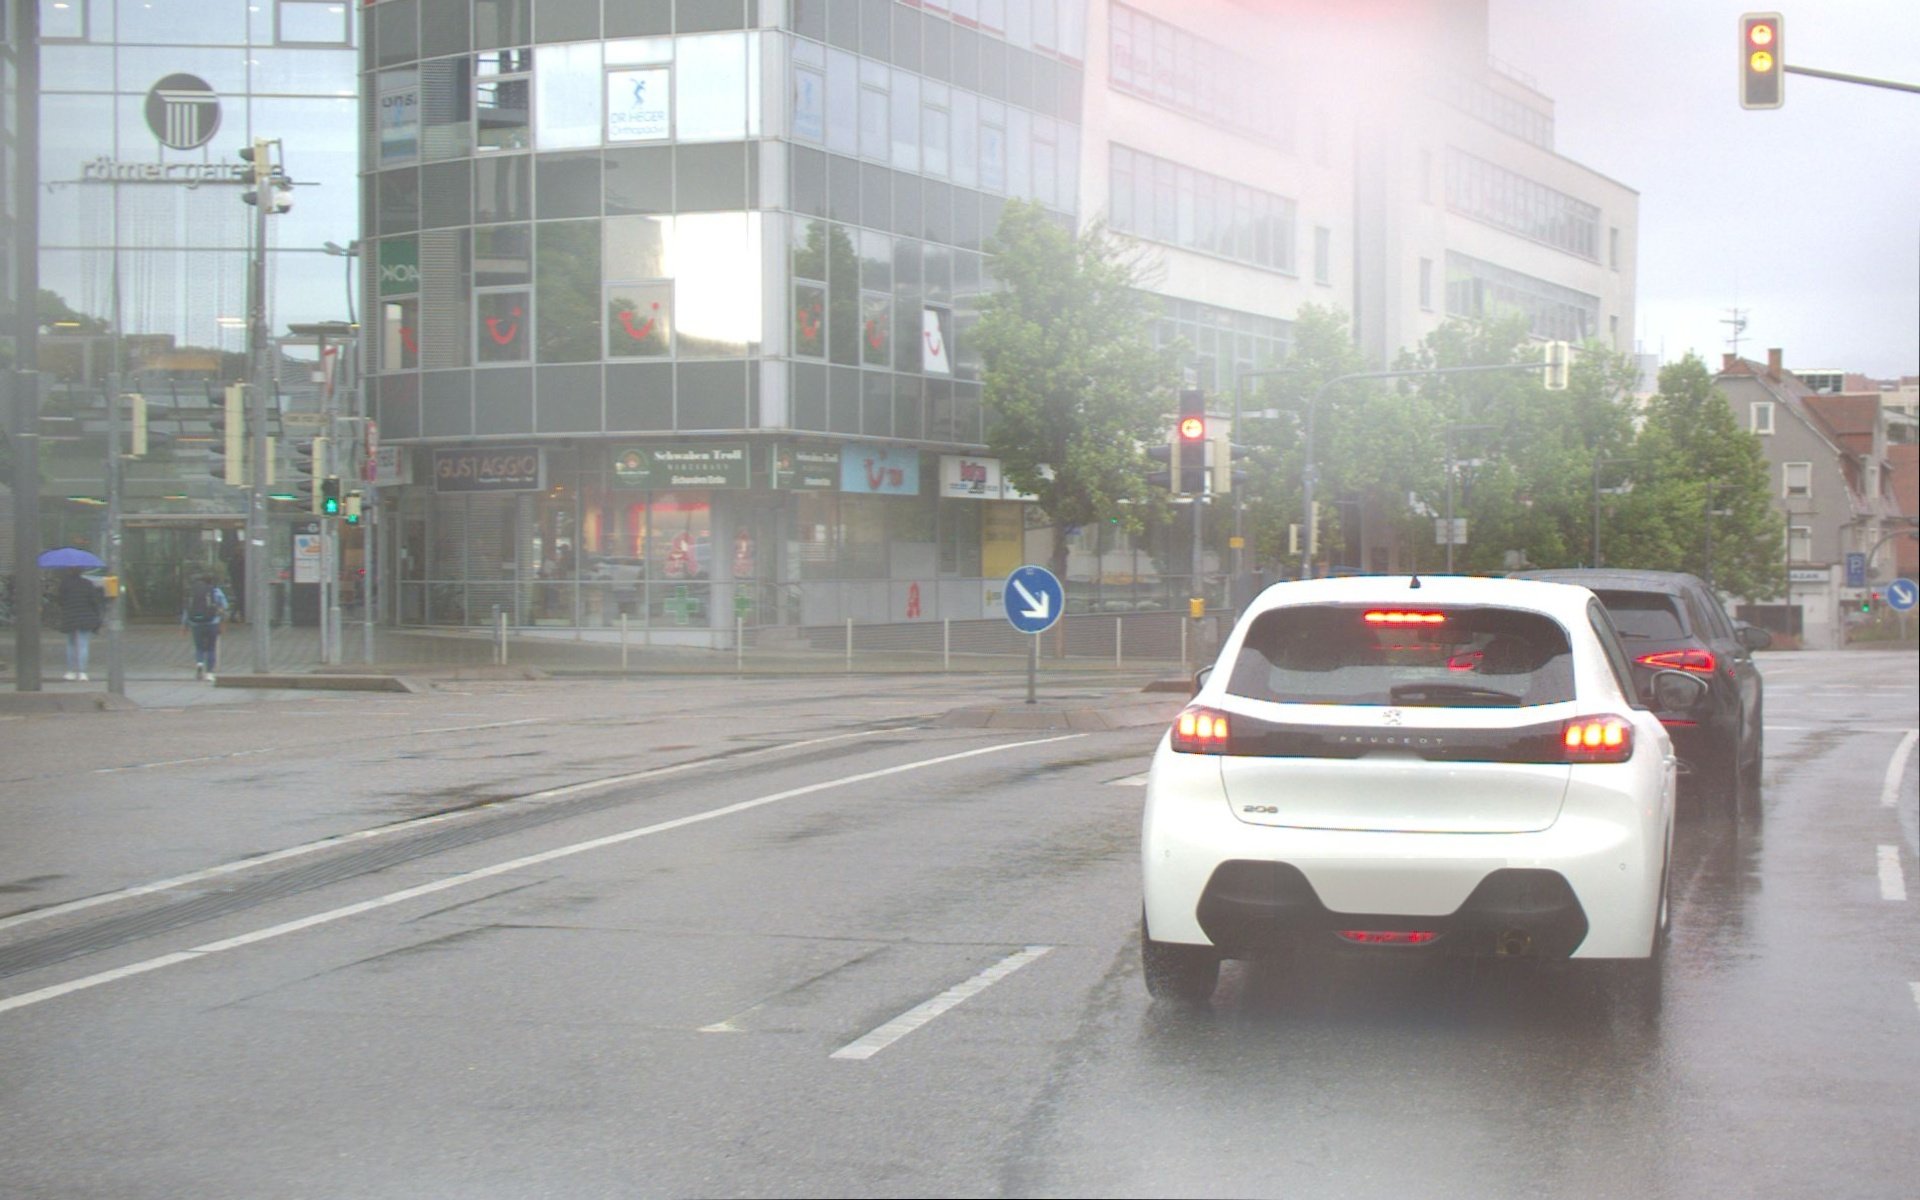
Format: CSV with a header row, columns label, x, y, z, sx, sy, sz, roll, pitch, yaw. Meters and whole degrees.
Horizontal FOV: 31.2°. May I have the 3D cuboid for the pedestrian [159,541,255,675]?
label,x,y,z,sx,sy,sz,roll,pitch,yaw
pedestrian,-10.343,0.109,47.226,0.846,1.813,1.023,0,0,24

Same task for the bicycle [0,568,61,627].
label,x,y,z,sx,sy,sz,roll,pitch,yaw
bicycle,-20.322,-0.052,73.148,2.273,1.242,0.677,0,0,-9

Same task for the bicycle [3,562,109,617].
label,x,y,z,sx,sy,sz,roll,pitch,yaw
bicycle,-20.507,-0.241,78.054,2.273,1.242,0.677,0,0,-9

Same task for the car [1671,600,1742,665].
label,x,y,z,sx,sy,sz,roll,pitch,yaw
car,20.819,0.875,95.829,1.509,1.719,3.651,1,1,19

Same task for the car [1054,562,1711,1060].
label,x,y,z,sx,sy,sz,roll,pitch,yaw
car,1.682,0.616,12.408,1.873,1.457,3.870,1,1,14

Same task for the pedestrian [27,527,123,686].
label,x,y,z,sx,sy,sz,roll,pitch,yaw
pedestrian,-11.359,0.072,44.132,1.161,2.007,1.329,1,1,-14

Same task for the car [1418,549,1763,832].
label,x,y,z,sx,sy,sz,roll,pitch,yaw
car,3.954,0.484,21.121,1.816,1.524,3.810,2,1,14
